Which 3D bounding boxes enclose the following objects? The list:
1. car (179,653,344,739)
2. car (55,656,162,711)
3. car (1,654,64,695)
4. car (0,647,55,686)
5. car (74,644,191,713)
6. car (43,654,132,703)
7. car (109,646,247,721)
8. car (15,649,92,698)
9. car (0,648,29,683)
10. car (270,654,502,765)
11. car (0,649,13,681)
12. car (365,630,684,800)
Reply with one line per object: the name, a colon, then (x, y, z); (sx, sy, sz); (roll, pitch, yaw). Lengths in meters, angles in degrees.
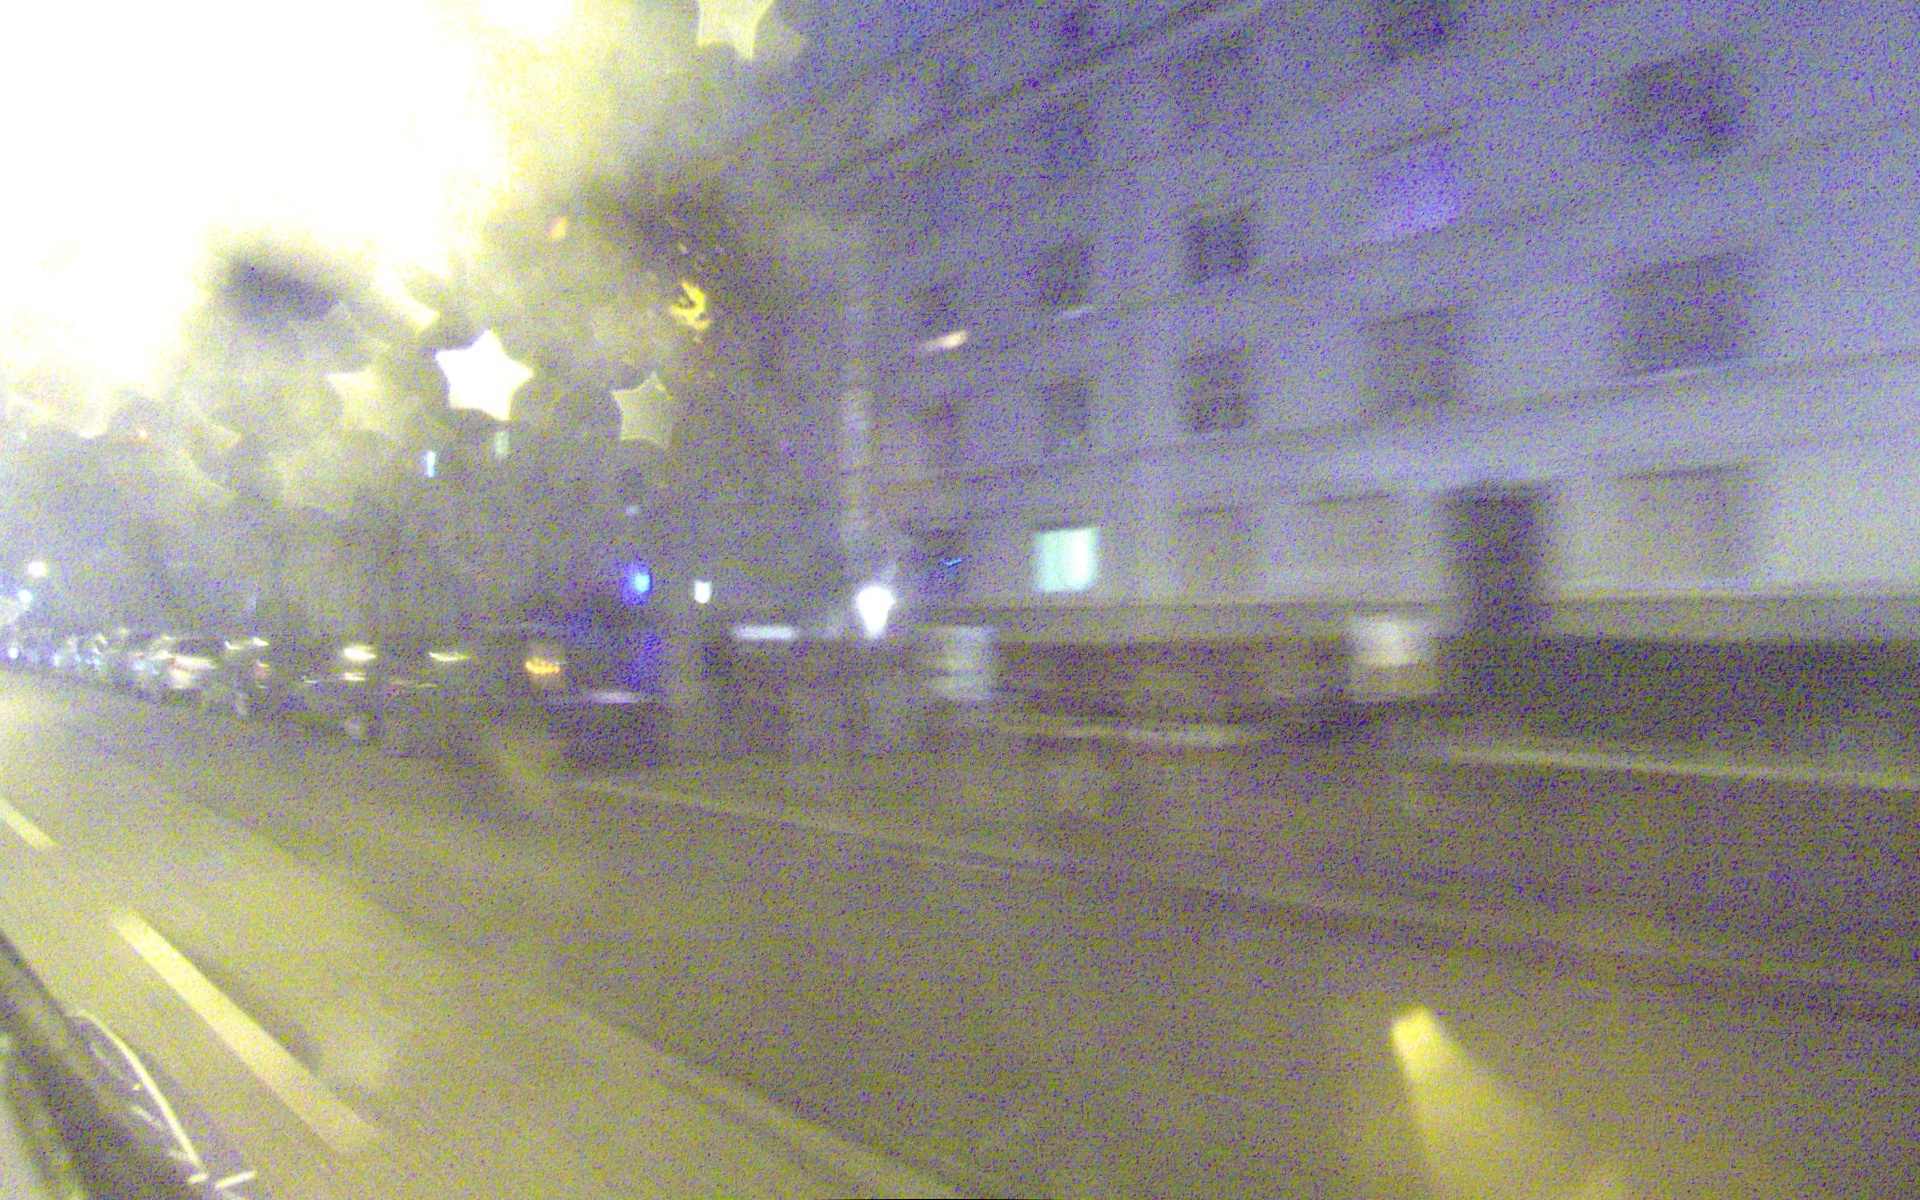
car: (-12.883, 1.671, 18.576); (4.066, 1.384, 1.581); (-3, -3, 42)
car: (-24.318, 2.352, 28.867); (4.001, 1.442, 1.582); (-3, -6, 40)
car: (-35.513, 2.846, 38.739); (3.374, 1.471, 1.416); (-3, -7, 43)
car: (-41.811, 2.947, 44.751); (4.383, 1.610, 1.730); (-2, -6, 37)
car: (-21.173, 1.976, 25.834); (4.257, 1.617, 1.581); (-3, -6, 42)
car: (-28.117, 2.503, 32.563); (4.934, 1.468, 1.619); (-3, -7, 44)
car: (-17.294, 1.810, 22.313); (4.273, 1.498, 1.581); (-3, -6, 42)
car: (-31.950, 2.588, 35.659); (3.371, 1.632, 1.459); (-3, -6, 40)
car: (-45.823, 3.094, 48.133); (4.387, 1.552, 1.649); (-3, -6, 40)
car: (-8.463, 1.515, 14.761); (4.352, 1.384, 1.581); (-3, -6, 42)
car: (-49.823, 3.291, 51.705); (4.389, 1.552, 1.648); (-3, -6, 42)
car: (-5.081, 1.215, 11.514); (4.378, 1.576, 1.581); (-3, -6, 42)
